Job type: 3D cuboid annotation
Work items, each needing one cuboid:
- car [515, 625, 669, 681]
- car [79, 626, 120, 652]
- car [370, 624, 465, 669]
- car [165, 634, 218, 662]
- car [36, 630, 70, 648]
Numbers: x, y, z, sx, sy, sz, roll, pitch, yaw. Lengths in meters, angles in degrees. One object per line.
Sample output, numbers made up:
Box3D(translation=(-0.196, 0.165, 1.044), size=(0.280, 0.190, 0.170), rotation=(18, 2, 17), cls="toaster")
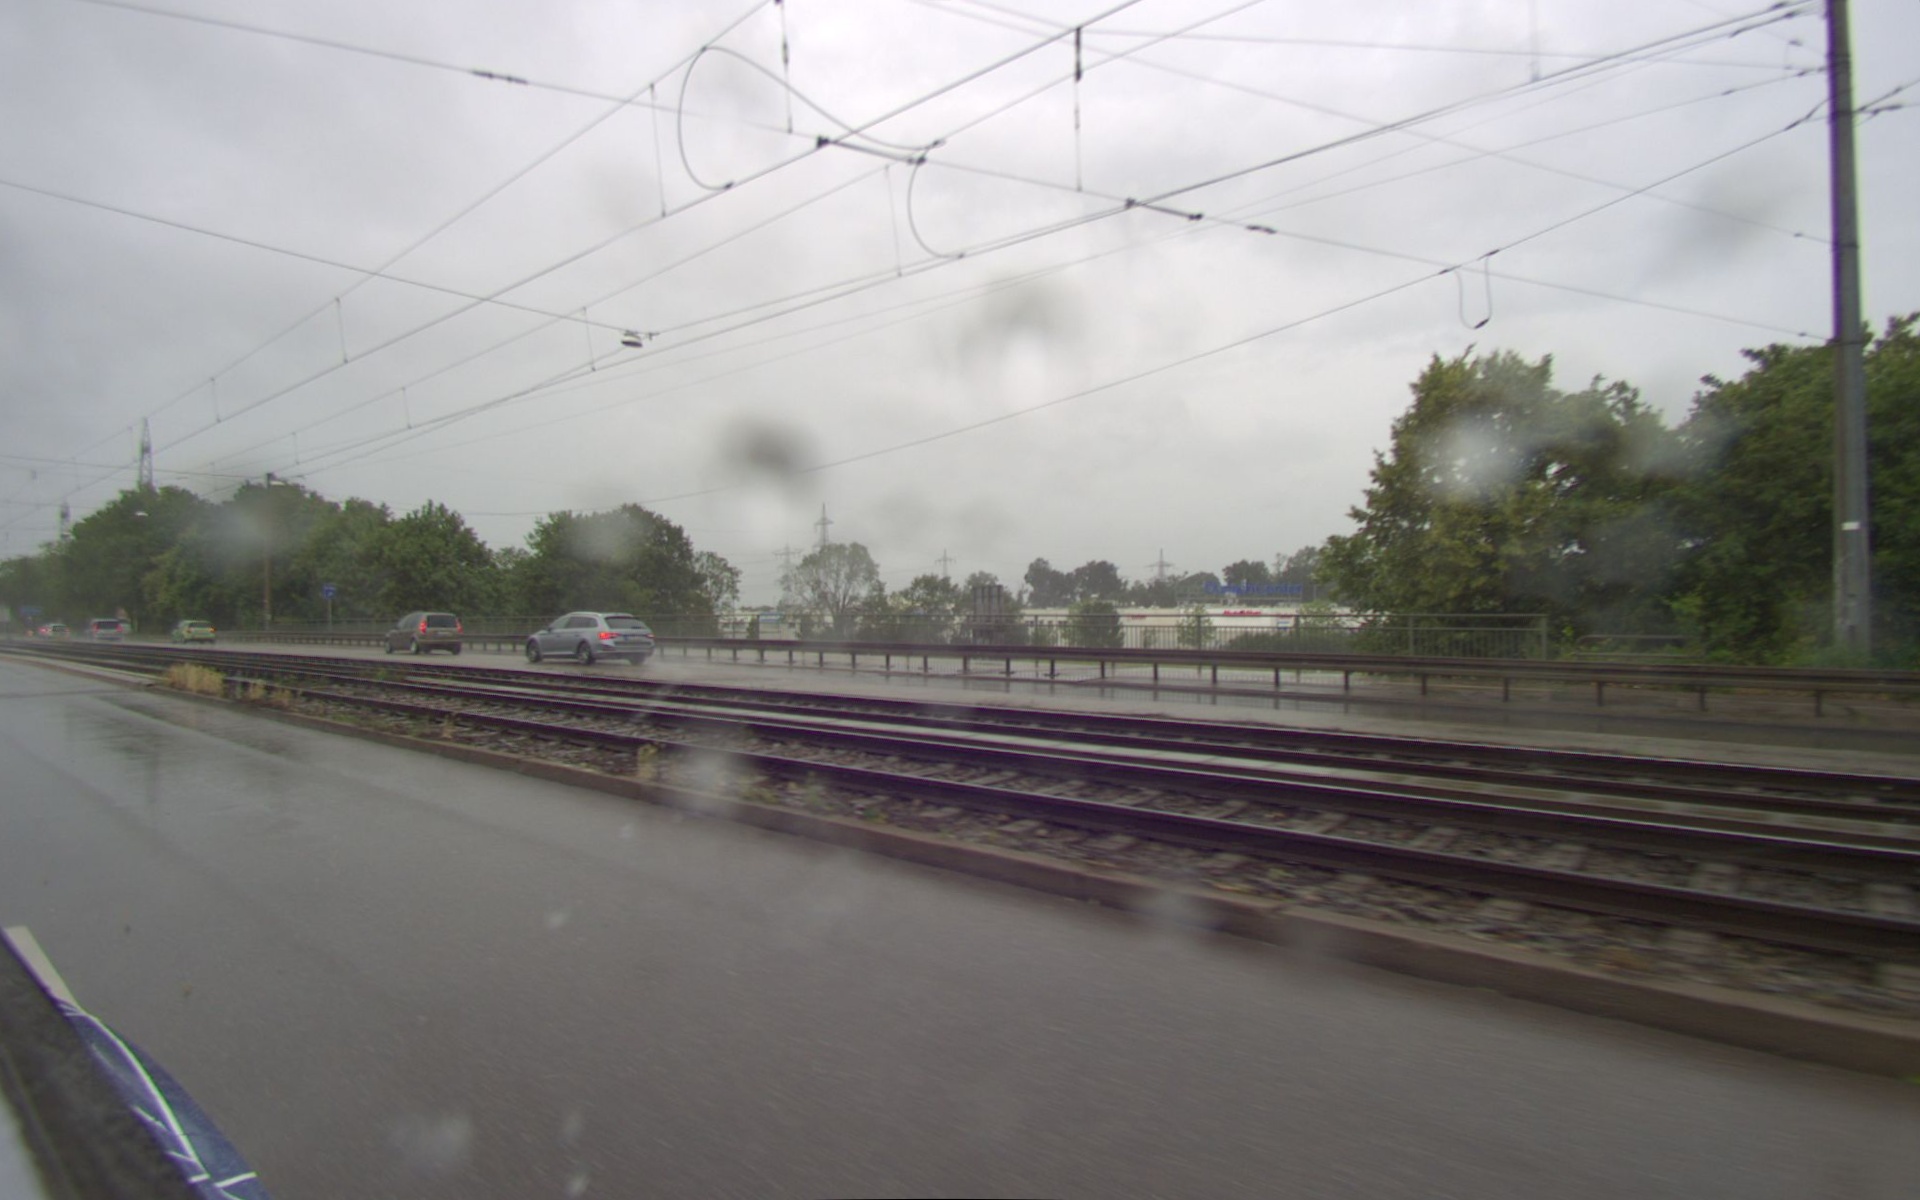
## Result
Box3D(translation=(-10.519, 1.448, 28.734), size=(4.849, 1.399, 1.973), rotation=(-2, -1, 40), cls="car")
Box3D(translation=(-68.654, 3.083, 80.707), size=(4.392, 1.845, 1.830), rotation=(-1, 3, 41), cls="car")
Box3D(translation=(-21.090, 1.773, 39.278), size=(4.383, 1.586, 1.822), rotation=(-1, 0, 41), cls="car")
Box3D(translation=(-47.546, 2.944, 62.578), size=(3.998, 1.606, 1.827), rotation=(-1, 0, 41), cls="car")
Box3D(translation=(-88.235, 3.785, 98.432), size=(3.998, 1.629, 1.973), rotation=(-1, -1, 41), cls="car")
